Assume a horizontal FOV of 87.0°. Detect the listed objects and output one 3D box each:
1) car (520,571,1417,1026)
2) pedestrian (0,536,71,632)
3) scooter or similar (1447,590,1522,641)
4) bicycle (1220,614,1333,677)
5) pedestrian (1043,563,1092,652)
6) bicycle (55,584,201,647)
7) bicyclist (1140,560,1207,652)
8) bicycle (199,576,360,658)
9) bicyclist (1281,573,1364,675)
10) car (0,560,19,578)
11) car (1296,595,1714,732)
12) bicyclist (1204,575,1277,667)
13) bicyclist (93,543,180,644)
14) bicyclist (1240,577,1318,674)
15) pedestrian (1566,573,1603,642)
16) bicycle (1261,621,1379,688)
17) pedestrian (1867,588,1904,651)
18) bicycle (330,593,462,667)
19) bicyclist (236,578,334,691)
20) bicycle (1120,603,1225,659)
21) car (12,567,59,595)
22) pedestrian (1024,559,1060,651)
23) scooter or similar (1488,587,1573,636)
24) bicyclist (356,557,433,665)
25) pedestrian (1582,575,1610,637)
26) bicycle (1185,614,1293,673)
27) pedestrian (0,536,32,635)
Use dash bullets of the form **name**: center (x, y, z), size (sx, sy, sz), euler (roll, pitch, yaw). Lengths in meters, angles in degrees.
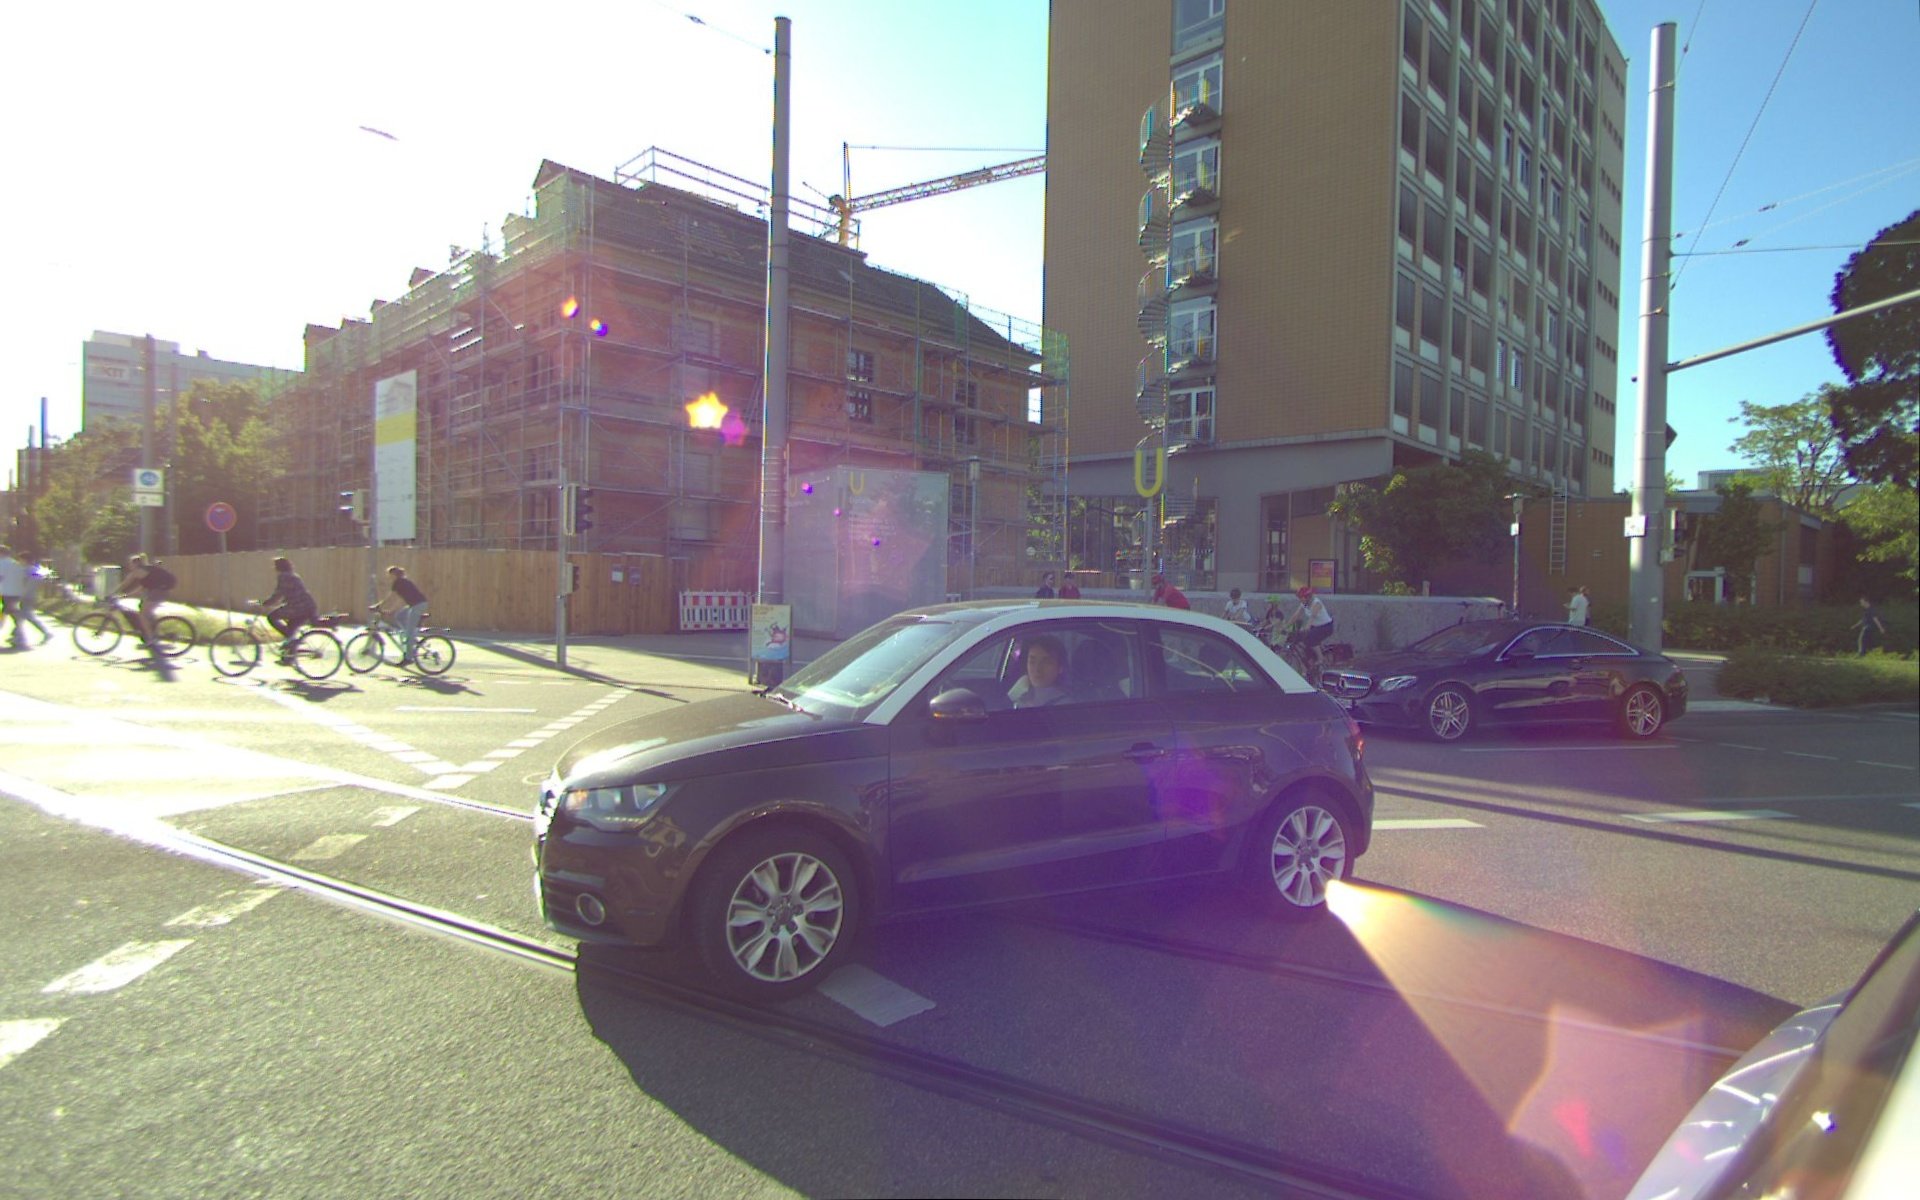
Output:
- **car**: center (0.024, 0.608, 4.670), size (3.752, 1.405, 1.699), euler (0, 1, -24)
- **pedestrian**: center (-18.288, -0.306, 20.013), size (0.807, 1.873, 0.688), euler (0, -2, 13)
- **scooter or similar**: center (13.580, 0.401, 26.210), size (1.693, 1.263, 0.791), euler (0, -2, 30)
- **bicycle**: center (5.534, 0.773, 17.685), size (1.841, 0.981, 0.714), euler (0, 5, -26)
- **pedestrian**: center (2.176, 0.145, 20.466), size (0.717, 1.760, 0.623), euler (1, 2, -22)
- **bicycle**: center (-14.511, 0.272, 17.685), size (1.867, 1.040, 0.649), euler (1, 0, -11)
- **bicyclist**: center (4.185, 0.110, 19.906), size (0.996, 1.728, 0.696), euler (2, 4, -10)
- **bicycle**: center (-9.848, 0.249, 14.689), size (1.866, 1.138, 0.648), euler (1, -2, -2)
- **bicyclist**: center (5.986, 0.380, 16.714), size (0.996, 1.606, 0.696), euler (1, 4, -26)
- **car**: center (-82.612, -2.633, 87.459), size (4.007, 1.482, 1.728), euler (0, 1, 45)
- **car**: center (6.768, 0.750, 12.684), size (4.556, 1.511, 1.821), euler (1, 0, -14)
- **bicyclist**: center (5.132, 0.374, 18.539), size (0.996, 1.606, 0.696), euler (1, 4, -26)
- **bicyclist**: center (-14.382, -0.110, 17.698), size (0.955, 1.717, 0.649), euler (1, 0, -11)
- **bicyclist**: center (5.569, 0.431, 17.669), size (0.996, 1.606, 0.696), euler (1, 4, -26)
- **pedestrian**: center (15.731, 0.191, 25.481), size (0.613, 1.733, 0.486), euler (0, -2, 2)
- **bicycle**: center (5.962, 0.877, 16.741), size (1.841, 0.981, 0.714), euler (0, 5, -26)
- **pedestrian**: center (24.783, 0.515, 27.097), size (0.494, 1.656, 0.574), euler (1, -2, -25)
- **bicycle**: center (-8.982, 0.483, 16.181), size (1.738, 1.138, 0.649), euler (1, -2, -21)
- **bicyclist**: center (-9.772, 0.498, 14.683), size (0.956, 1.589, 0.648), euler (1, -2, -2)
- **bicycle**: center (4.178, 0.613, 19.940), size (1.841, 0.981, 0.714), euler (2, 4, -10)
- **car**: center (-51.371, -1.040, 56.215), size (4.007, 1.482, 1.728), euler (0, 1, 45)
- **pedestrian**: center (1.629, 0.081, 20.088), size (0.612, 1.760, 0.664), euler (2, 2, 9)
- **scooter or similar**: center (15.073, 0.299, 26.786), size (1.804, 1.263, 0.796), euler (0, -2, 16)
- **bicyclist**: center (-9.022, 0.180, 16.174), size (0.954, 1.683, 0.649), euler (1, -2, -21)
- **pedestrian**: center (17.261, 0.175, 27.470), size (0.494, 1.656, 0.428), euler (1, -2, -25)
- **bicycle**: center (5.126, 0.779, 18.577), size (1.841, 0.981, 0.714), euler (0, 5, -26)
- **pedestrian**: center (-18.446, -0.276, 19.329), size (0.807, 1.873, 0.688), euler (0, -2, 13)
